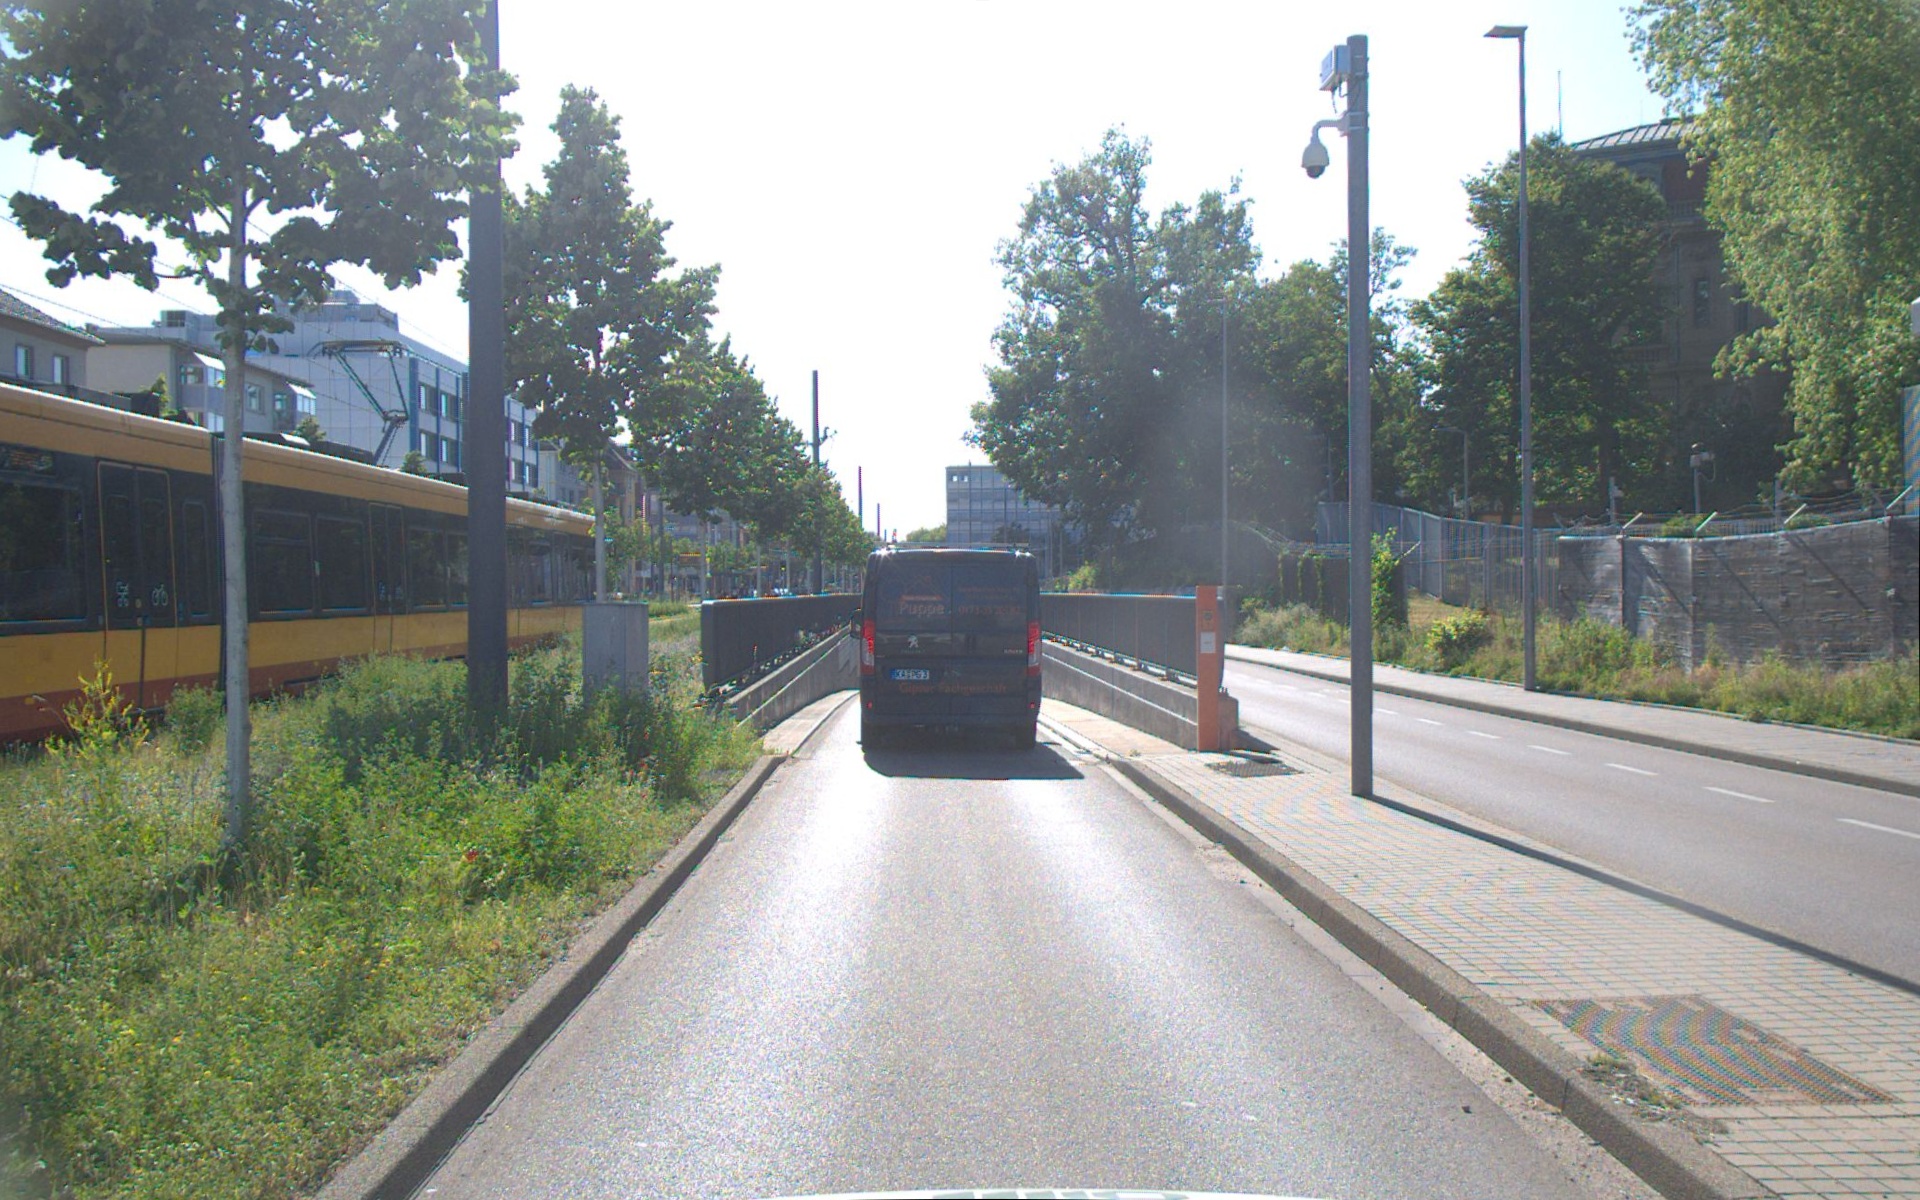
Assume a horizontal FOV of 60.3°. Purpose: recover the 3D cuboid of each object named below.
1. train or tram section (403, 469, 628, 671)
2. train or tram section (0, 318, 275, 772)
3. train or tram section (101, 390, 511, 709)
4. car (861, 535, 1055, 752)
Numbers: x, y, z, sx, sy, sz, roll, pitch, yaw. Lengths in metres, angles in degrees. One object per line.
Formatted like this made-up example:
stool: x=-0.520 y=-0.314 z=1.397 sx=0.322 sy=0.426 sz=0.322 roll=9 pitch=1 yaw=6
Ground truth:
train or tram section: x=-9.415 y=-0.577 z=36.522 sx=1.953 sy=3.733 sz=11.681 roll=0 pitch=0 yaw=-1
train or tram section: x=-8.836 y=-0.454 z=12.382 sx=1.953 sy=3.733 sz=14.147 roll=0 pitch=0 yaw=-2
train or tram section: x=-9.208 y=-0.617 z=25.057 sx=1.953 sy=3.733 sz=11.313 roll=0 pitch=0 yaw=-1
car: x=-0.074 y=0.452 z=19.530 sx=2.040 sy=2.288 sz=3.999 roll=0 pitch=0 yaw=-2
